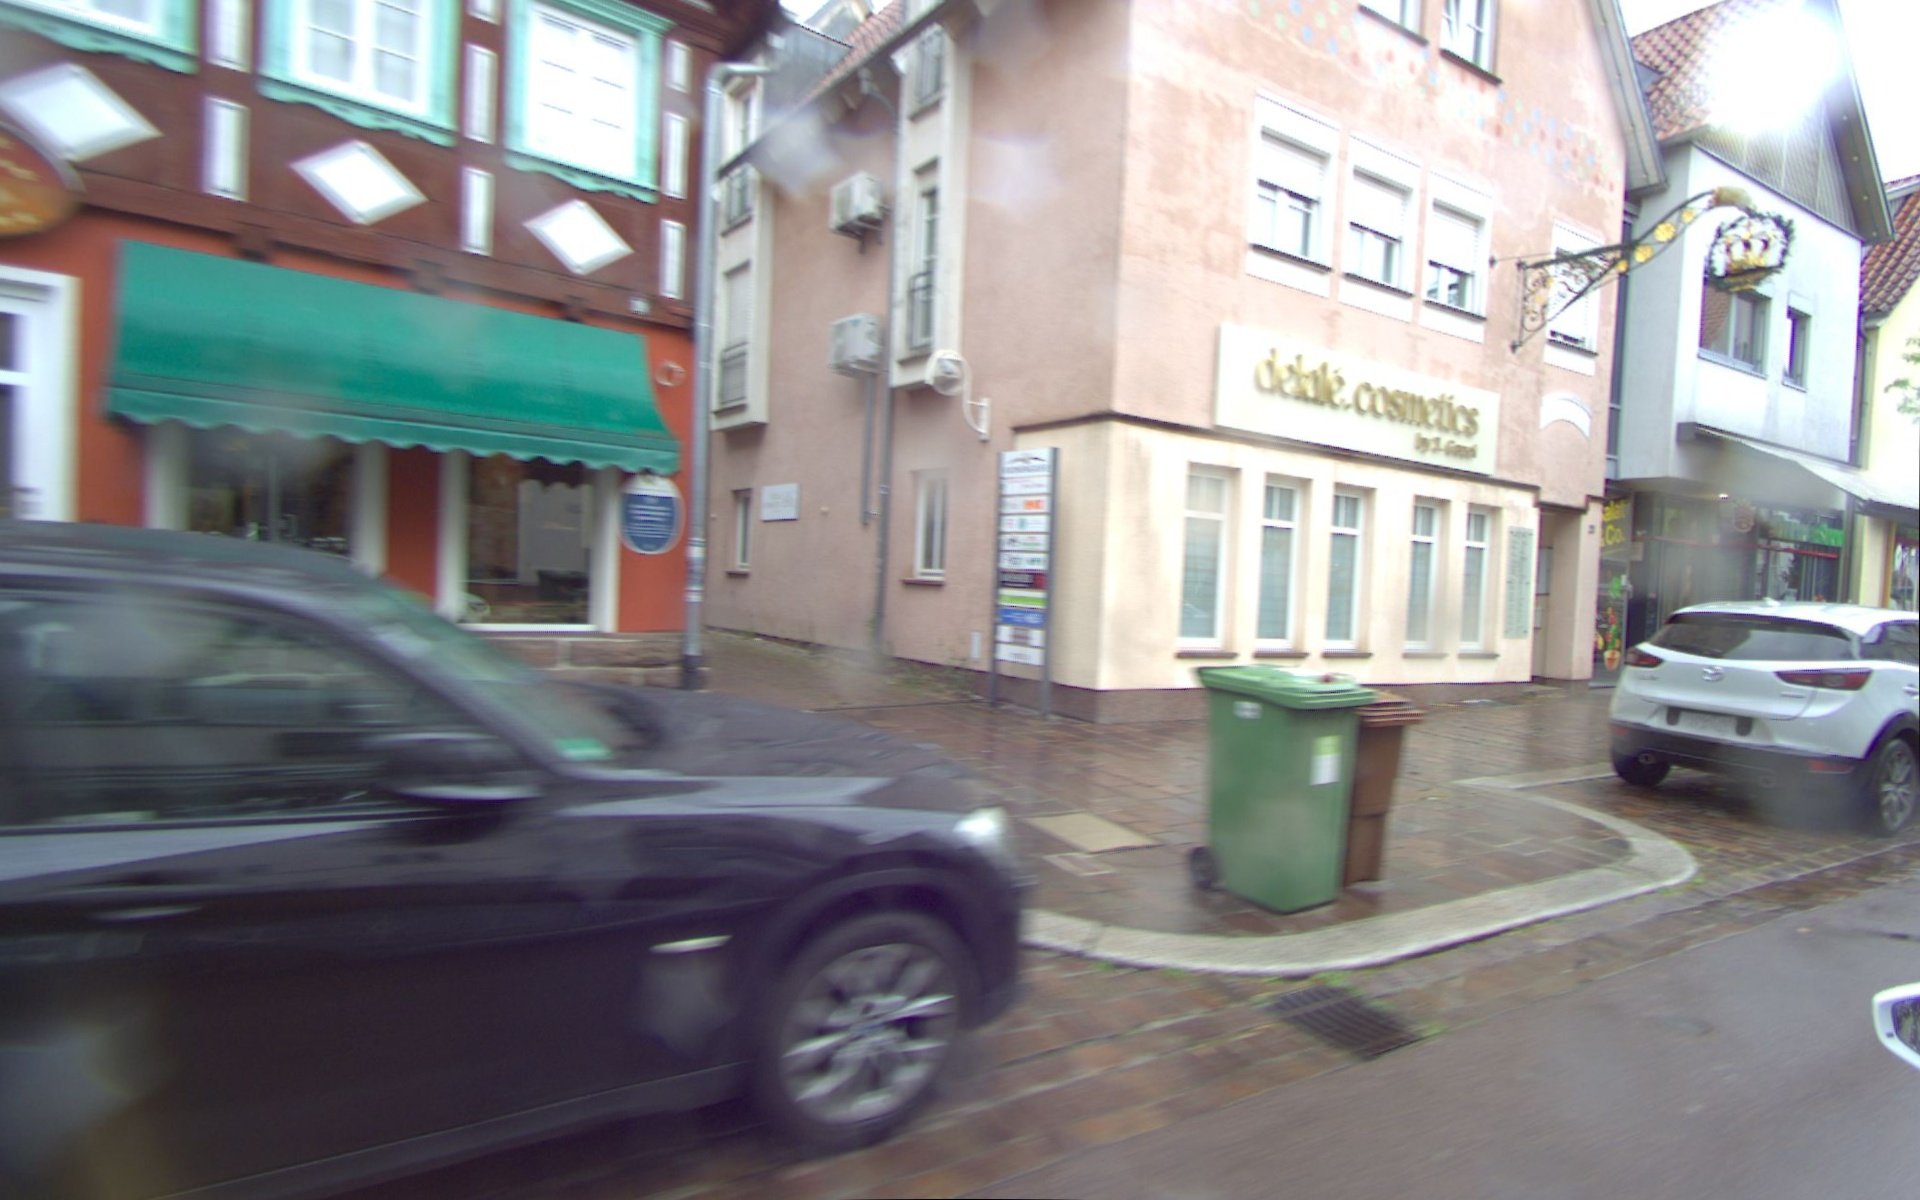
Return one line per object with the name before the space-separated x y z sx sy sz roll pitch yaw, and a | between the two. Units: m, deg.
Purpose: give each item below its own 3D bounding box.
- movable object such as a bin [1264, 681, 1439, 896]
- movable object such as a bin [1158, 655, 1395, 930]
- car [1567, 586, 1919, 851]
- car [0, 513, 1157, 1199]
movable object such as a bin | 1.990 0.923 5.133 0.494 0.951 0.605 3 2 -34
movable object such as a bin | 1.478 0.844 4.738 0.669 1.096 0.764 3 1 -34
car | 6.838 0.734 7.909 4.071 1.559 1.684 0 3 -30
car | -1.710 0.589 2.595 4.241 1.559 1.770 0 4 -32
